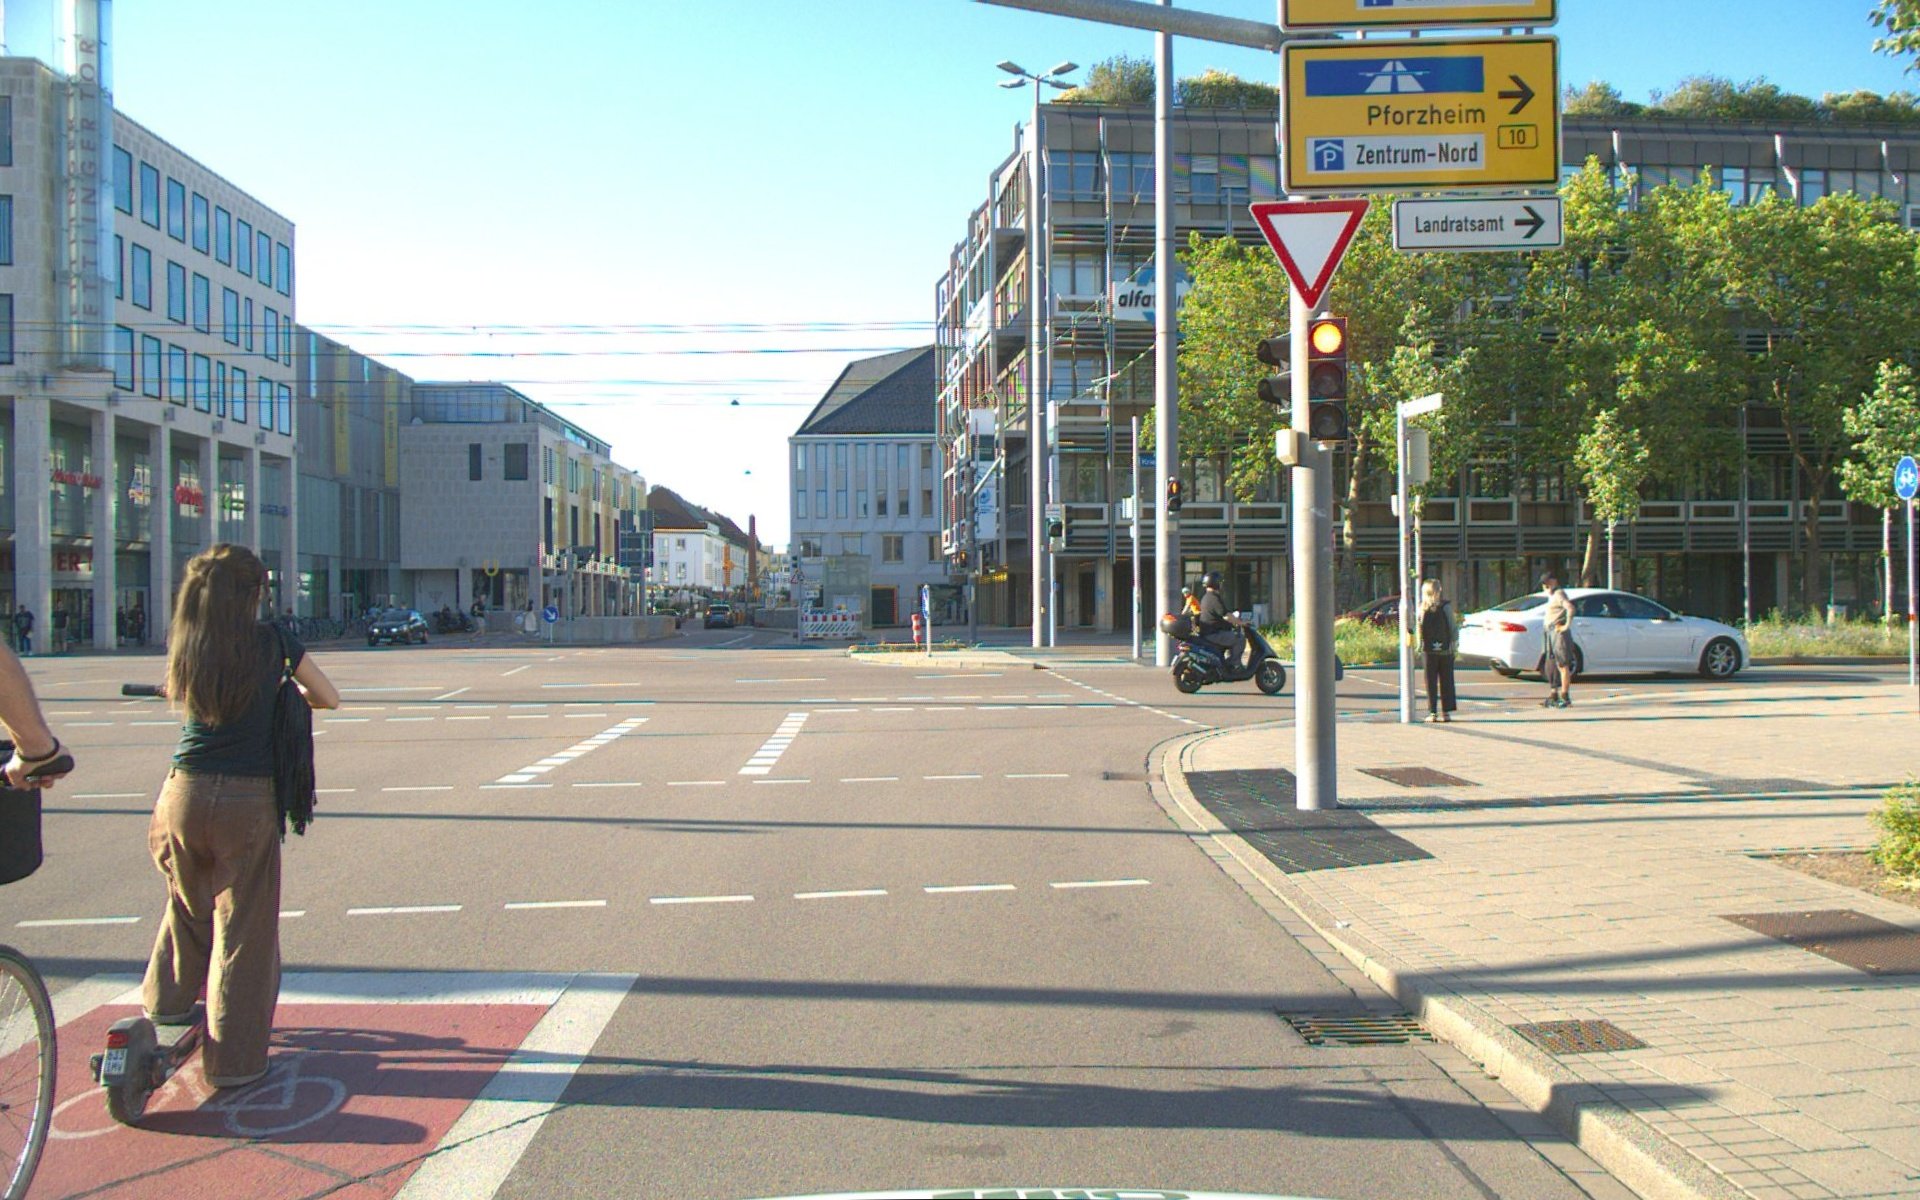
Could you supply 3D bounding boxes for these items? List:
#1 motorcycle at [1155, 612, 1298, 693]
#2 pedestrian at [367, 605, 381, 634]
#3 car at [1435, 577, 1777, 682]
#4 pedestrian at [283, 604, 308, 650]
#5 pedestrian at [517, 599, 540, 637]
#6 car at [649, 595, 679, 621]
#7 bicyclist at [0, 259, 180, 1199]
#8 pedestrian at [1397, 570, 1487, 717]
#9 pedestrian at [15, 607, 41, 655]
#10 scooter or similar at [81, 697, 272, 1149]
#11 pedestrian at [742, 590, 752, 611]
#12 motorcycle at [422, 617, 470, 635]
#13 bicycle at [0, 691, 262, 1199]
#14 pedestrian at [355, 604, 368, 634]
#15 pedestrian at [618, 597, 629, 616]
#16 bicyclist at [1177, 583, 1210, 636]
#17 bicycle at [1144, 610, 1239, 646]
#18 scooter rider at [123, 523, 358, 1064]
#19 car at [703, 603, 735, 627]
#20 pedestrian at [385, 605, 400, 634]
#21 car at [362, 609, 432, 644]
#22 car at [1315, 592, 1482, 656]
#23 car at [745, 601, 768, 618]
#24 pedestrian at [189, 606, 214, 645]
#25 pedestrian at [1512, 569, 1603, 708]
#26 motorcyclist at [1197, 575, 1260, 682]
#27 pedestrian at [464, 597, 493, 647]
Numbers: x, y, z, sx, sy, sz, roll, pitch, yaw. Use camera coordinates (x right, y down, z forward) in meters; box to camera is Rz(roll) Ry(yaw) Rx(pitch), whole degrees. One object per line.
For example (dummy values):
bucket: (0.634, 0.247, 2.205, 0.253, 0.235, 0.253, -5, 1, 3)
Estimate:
motorcycle: (3.815, 0.741, 23.729, 1.918, 1.120, 0.648, -1, 0, -9)
pedestrian: (-34.890, 1.158, 98.425, 0.462, 1.759, 0.626, 1, -1, 33)
car: (10.590, 0.446, 27.246, 4.993, 1.592, 1.994, -1, 0, -12)
pedestrian: (-25.435, 1.037, 63.298, 0.685, 1.718, 0.619, -1, 0, 0)
pedestrian: (-20.643, 0.865, 79.183, 0.881, 1.814, 0.808, 0, 0, -1)
car: (-19.841, 0.520, 110.973, 1.785, 1.713, 3.993, -1, 0, -8)
bicyclist: (-2.053, 0.278, 3.082, 0.789, 1.730, 0.851, 0, 0, -1)
pedestrian: (5.534, 0.483, 19.031, 0.750, 1.642, 0.874, -1, 0, -2)
pedestrian: (-32.846, 1.085, 58.295, 0.580, 1.674, 0.629, -1, 0, -1)
scooter or similar: (-2.234, 0.870, 4.769, 0.301, 1.127, 0.836, -1, 0, -12)
pedestrian: (-21.150, 0.044, 164.358, 0.892, 1.999, 0.822, 1, -1, -1)
motorcycle: (-30.223, 1.526, 97.298, 2.555, 1.010, 1.113, 1, 0, -10)
bicycle: (-2.043, 0.811, 3.054, 0.724, 1.167, 1.890, 0, 0, -1)
pedestrian: (-36.105, 1.143, 99.776, 0.462, 1.759, 0.518, 0, -1, 38)
pedestrian: (-28.473, 0.541, 139.864, 0.668, 1.626, 0.839, -1, 0, 9)
bicyclist: (6.669, 0.276, 47.219, 0.806, 1.500, 0.652, -1, 0, -5)
bicycle: (6.587, 0.794, 47.203, 2.517, 0.992, 1.047, -1, 0, -4)
scooter rider: (-2.166, 0.554, 5.024, 0.542, 1.556, 0.448, -1, 0, -9)
car: (-15.698, 0.959, 107.820, 1.625, 1.484, 3.541, -1, 0, -1)
pedestrian: (-34.091, 1.176, 99.347, 0.462, 1.759, 0.692, 0, -1, 37)
car: (-23.564, 1.097, 69.327, 1.642, 1.381, 4.019, -1, 0, -2)
car: (12.328, 0.647, 46.589, 4.212, 1.713, 1.820, -1, 0, -11)
car: (-17.904, 0.838, 145.754, 1.625, 1.484, 3.541, -1, 0, -1)
pedestrian: (-32.577, 1.079, 71.053, 0.760, 1.667, 0.626, -1, 0, 9)
pedestrian: (7.648, 0.481, 21.205, 0.854, 1.736, 0.768, -1, 0, -3)
motorcyclist: (3.853, 0.401, 23.737, 0.735, 1.505, 0.598, 0, 0, -9)
pedestrian: (-18.337, 0.822, 63.017, 0.923, 1.897, 0.539, -1, 0, 16)
